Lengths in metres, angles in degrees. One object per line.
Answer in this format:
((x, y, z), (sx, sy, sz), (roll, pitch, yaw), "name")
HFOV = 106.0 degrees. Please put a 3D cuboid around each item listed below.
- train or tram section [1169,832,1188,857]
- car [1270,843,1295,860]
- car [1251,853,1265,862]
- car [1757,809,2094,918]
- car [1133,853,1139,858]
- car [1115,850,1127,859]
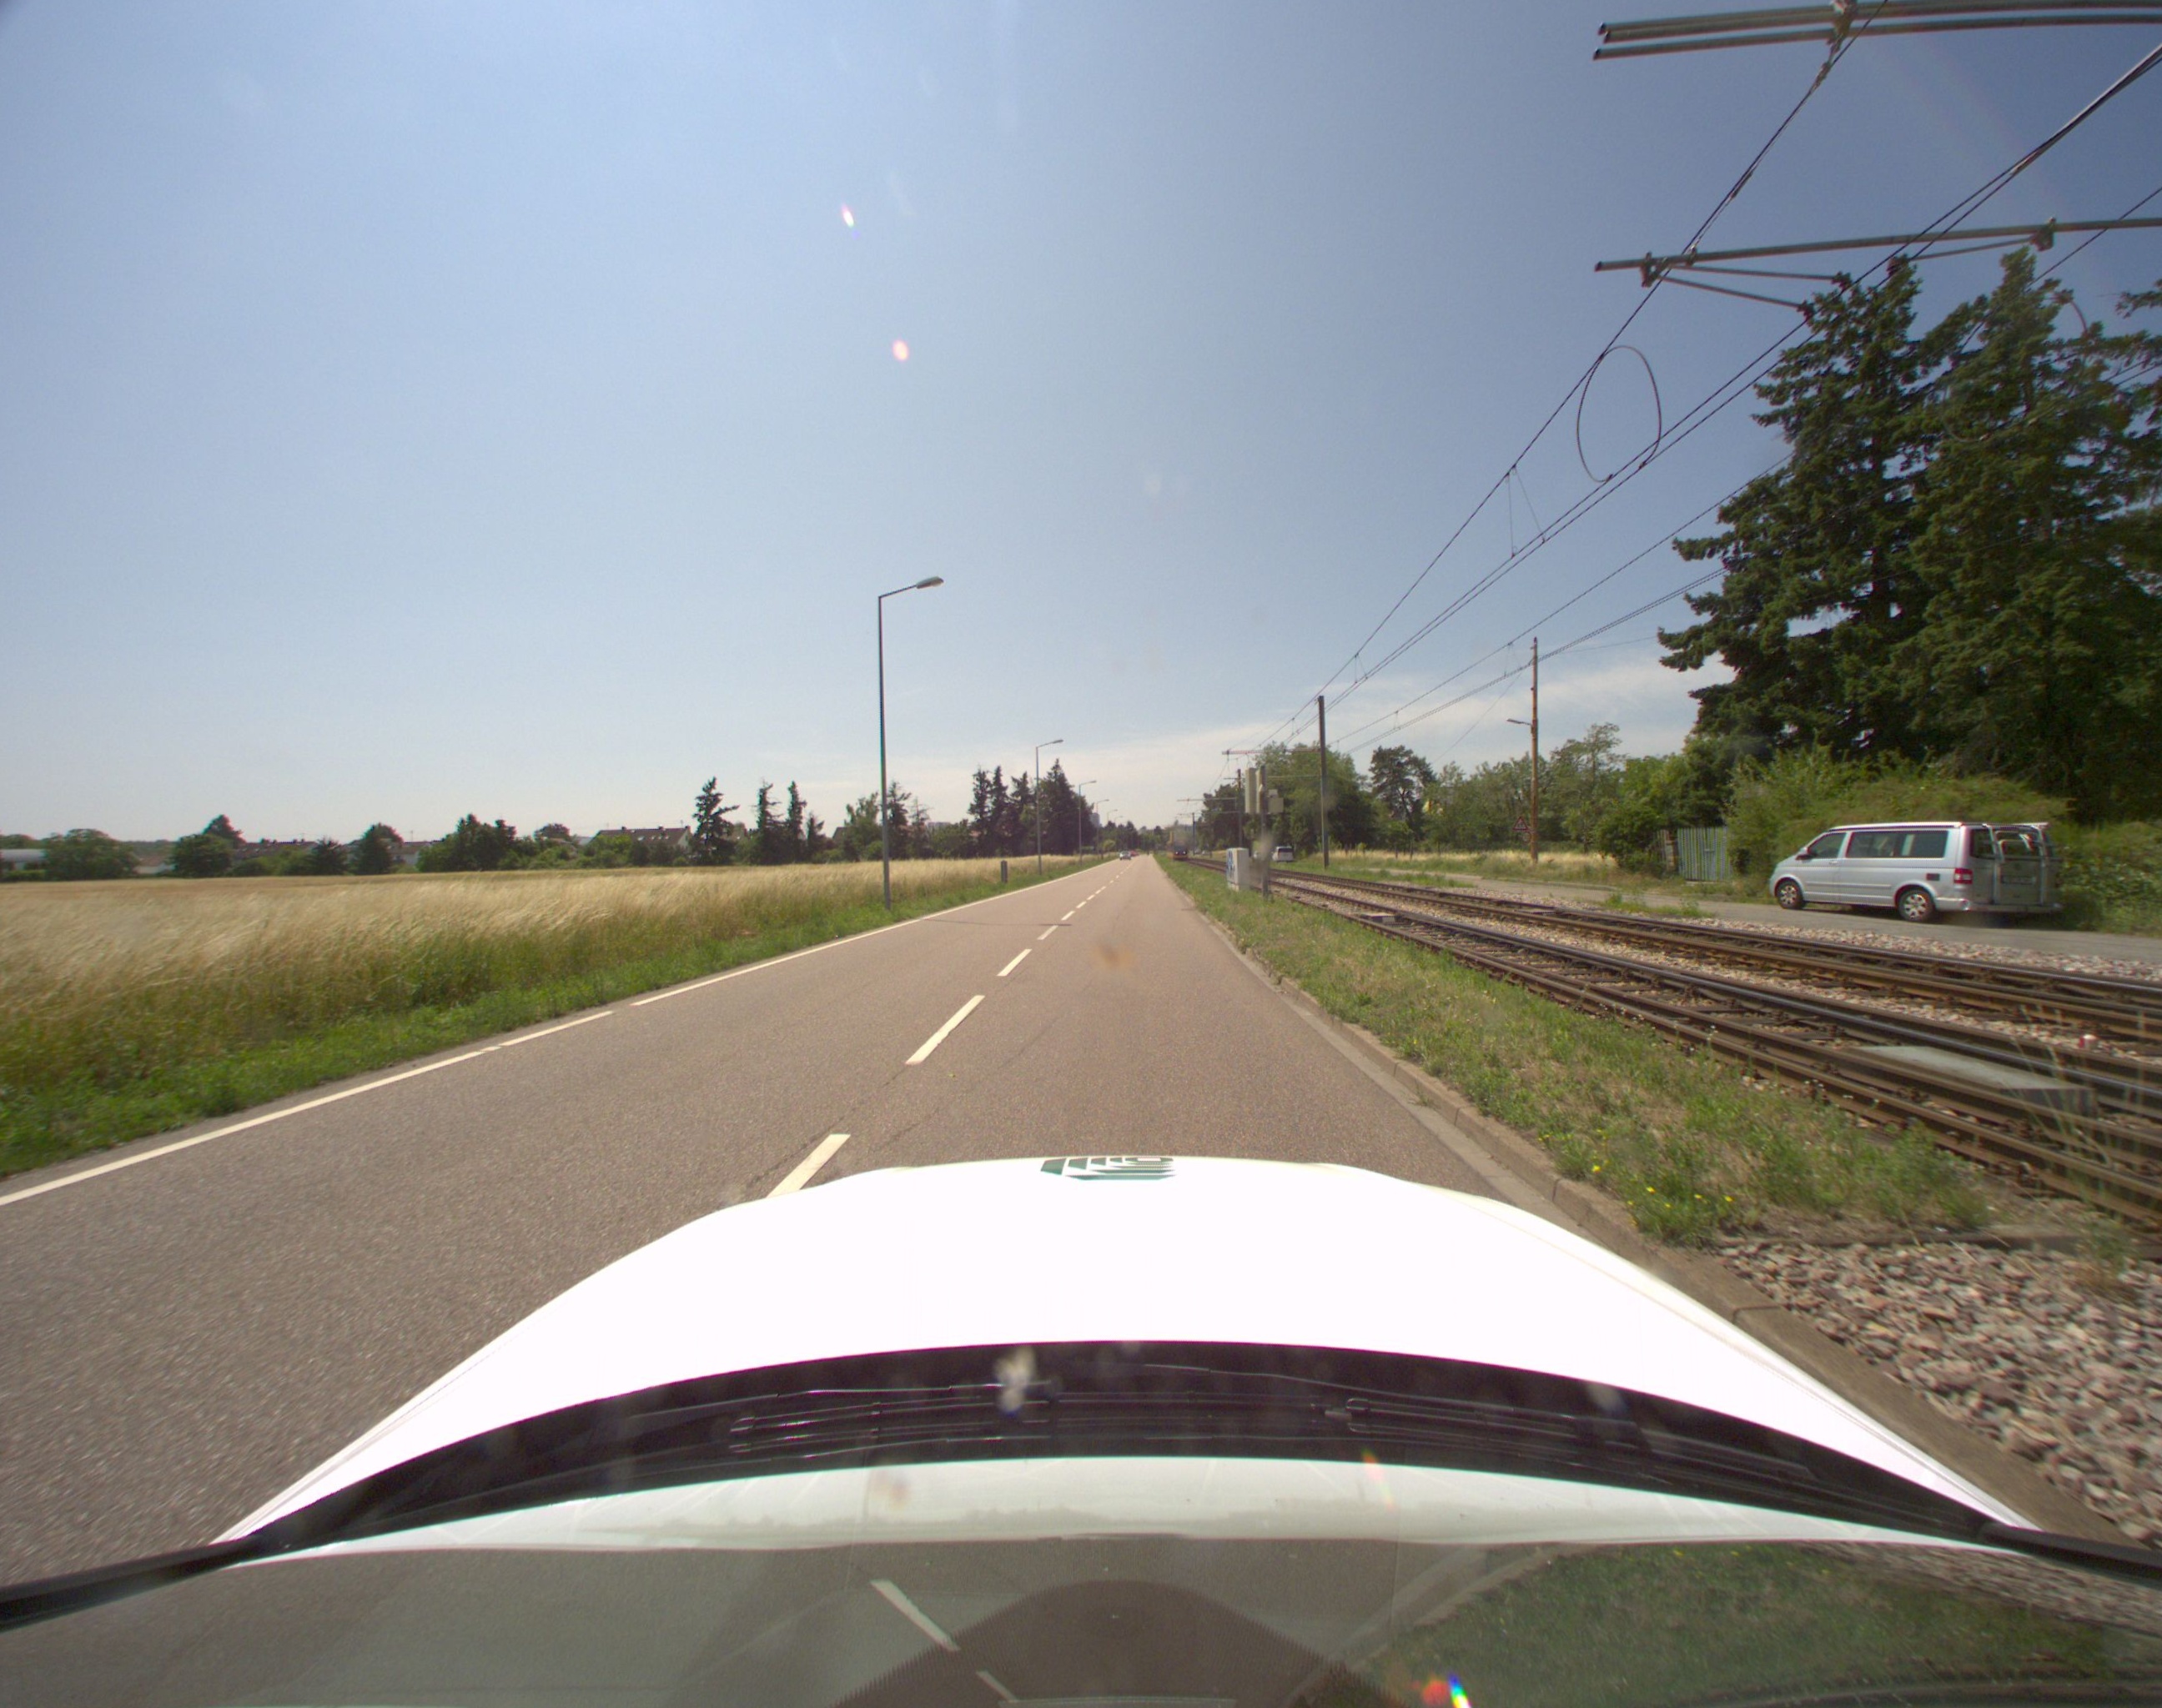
((15.512, -1.416, 130.242), (2.418, 3.766, 11.572), (-2, -1, 4), "train or tram section")
((23.336, -0.233, 94.565), (1.984, 1.802, 4.800), (-2, -1, 5), "car")
((24.742, 0.495, 113.622), (1.421, 1.308, 3.470), (-2, -1, 5), "car")
((17.239, 0.207, 17.141), (2.027, 1.882, 5.074), (-2, -1, 4), "car")
((16.326, 0.527, 241.606), (1.799, 1.286, 4.291), (-2, -1, 4), "car")
((6.975, 0.075, 141.563), (1.826, 1.467, 4.683), (-1, -1, 4), "car")
